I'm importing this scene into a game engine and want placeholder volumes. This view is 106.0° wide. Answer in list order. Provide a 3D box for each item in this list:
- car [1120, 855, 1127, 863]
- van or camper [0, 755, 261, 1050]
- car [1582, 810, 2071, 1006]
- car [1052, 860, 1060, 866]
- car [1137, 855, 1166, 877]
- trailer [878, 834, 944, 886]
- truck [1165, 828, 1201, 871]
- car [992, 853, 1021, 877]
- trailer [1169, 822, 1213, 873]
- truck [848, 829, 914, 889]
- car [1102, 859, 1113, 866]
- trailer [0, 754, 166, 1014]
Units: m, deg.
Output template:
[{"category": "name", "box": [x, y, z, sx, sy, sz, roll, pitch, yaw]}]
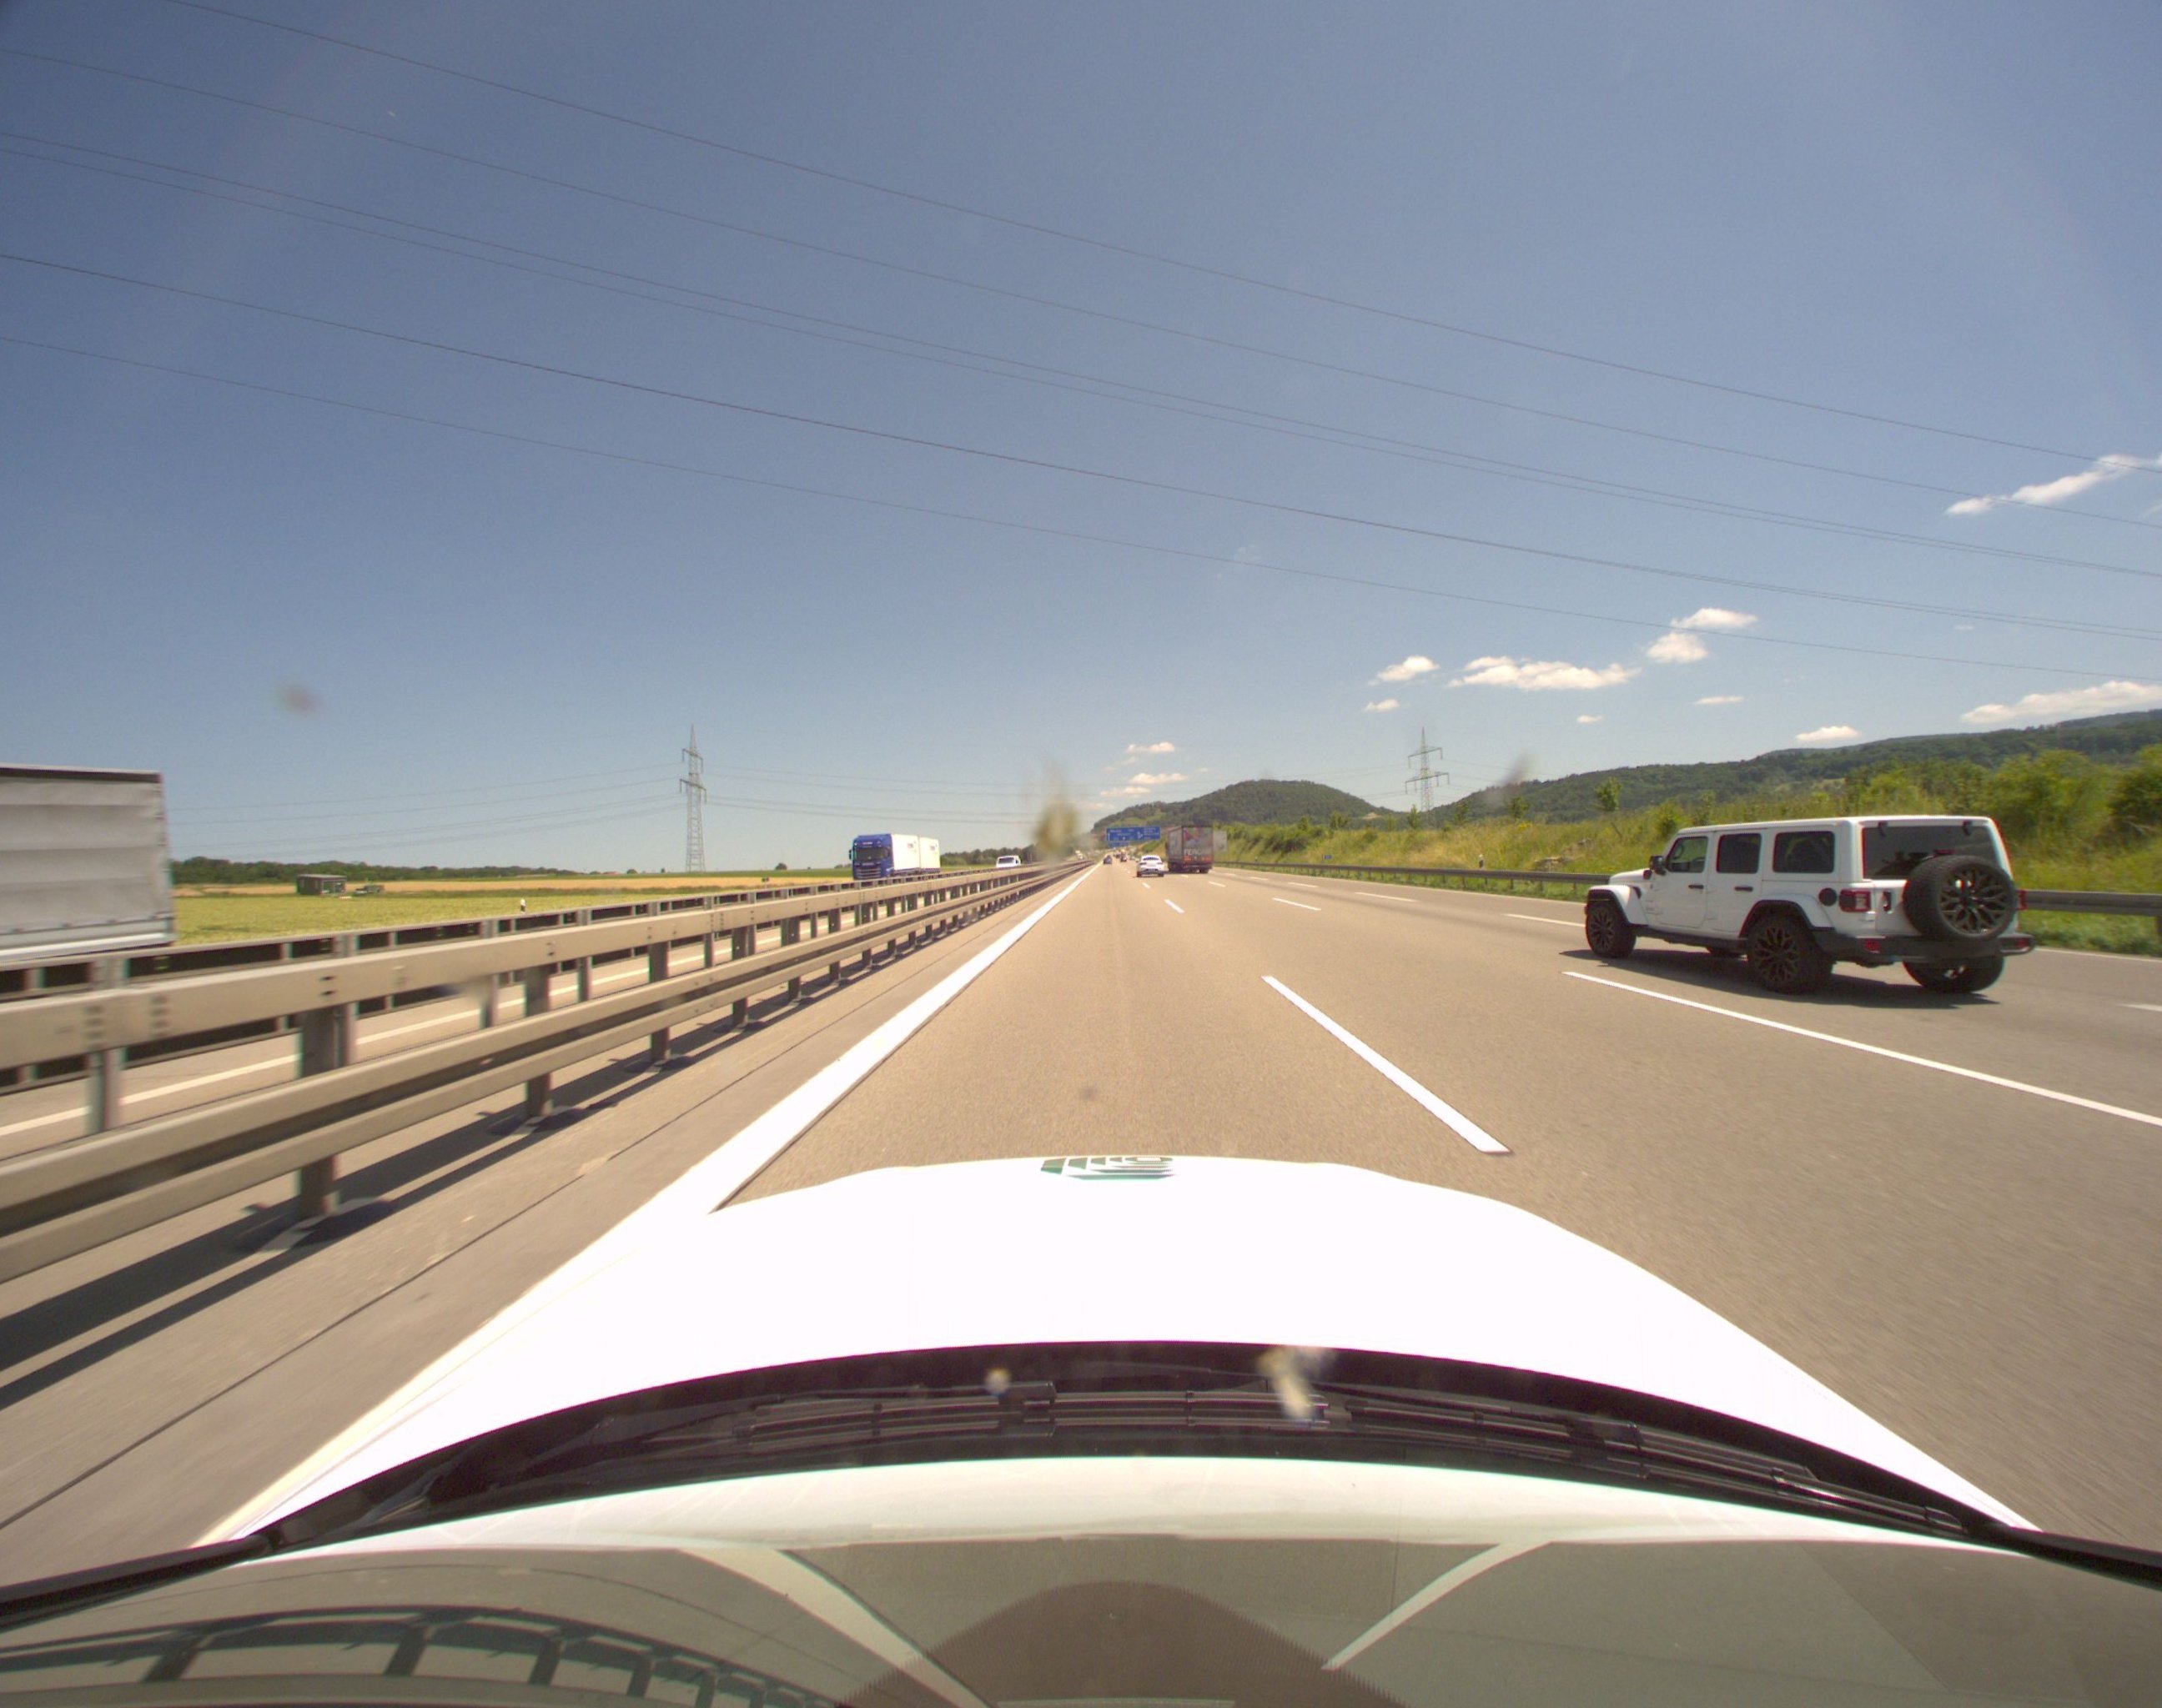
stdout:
[{"category": "car", "box": [11.006, 1.325, 210.744, 1.985, 2.014, 4.002, -1, -1, 2]}, {"category": "van or camper", "box": [-12.800, 0.562, 7.681, 2.331, 3.165, 7.404, -3, 0, 2]}, {"category": "car", "box": [8.315, 0.511, 9.784, 2.027, 1.804, 4.251, -1, 0, 1]}, {"category": "car", "box": [-6.247, 2.351, 204.928, 1.665, 1.440, 4.567, -5, -1, 1]}, {"category": "car", "box": [5.219, 0.866, 60.866, 1.907, 1.581, 5.232, -1, -1, 2]}, {"category": "trailer", "box": [-14.297, 0.538, 69.656, 2.822, 4.046, 11.669, -1, -1, 2]}, {"category": "truck", "box": [9.888, -0.353, 79.593, 2.742, 4.020, 6.790, -1, -1, 1]}, {"category": "car", "box": [-6.927, 1.024, 76.373, 1.977, 2.010, 4.651, -4, 0, 2]}, {"category": "trailer", "box": [9.652, -0.484, 72.468, 2.715, 4.155, 11.813, -1, -1, 2]}, {"category": "truck", "box": [-14.571, 0.398, 60.040, 2.810, 4.090, 7.533, -1, -1, 1]}, {"category": "car", "box": [5.182, 1.697, 159.469, 1.985, 1.389, 4.002, -1, -1, 2]}, {"category": "trailer", "box": [-16.796, 0.399, 7.907, 2.696, 3.692, 11.363, -1, -1, 2]}]
